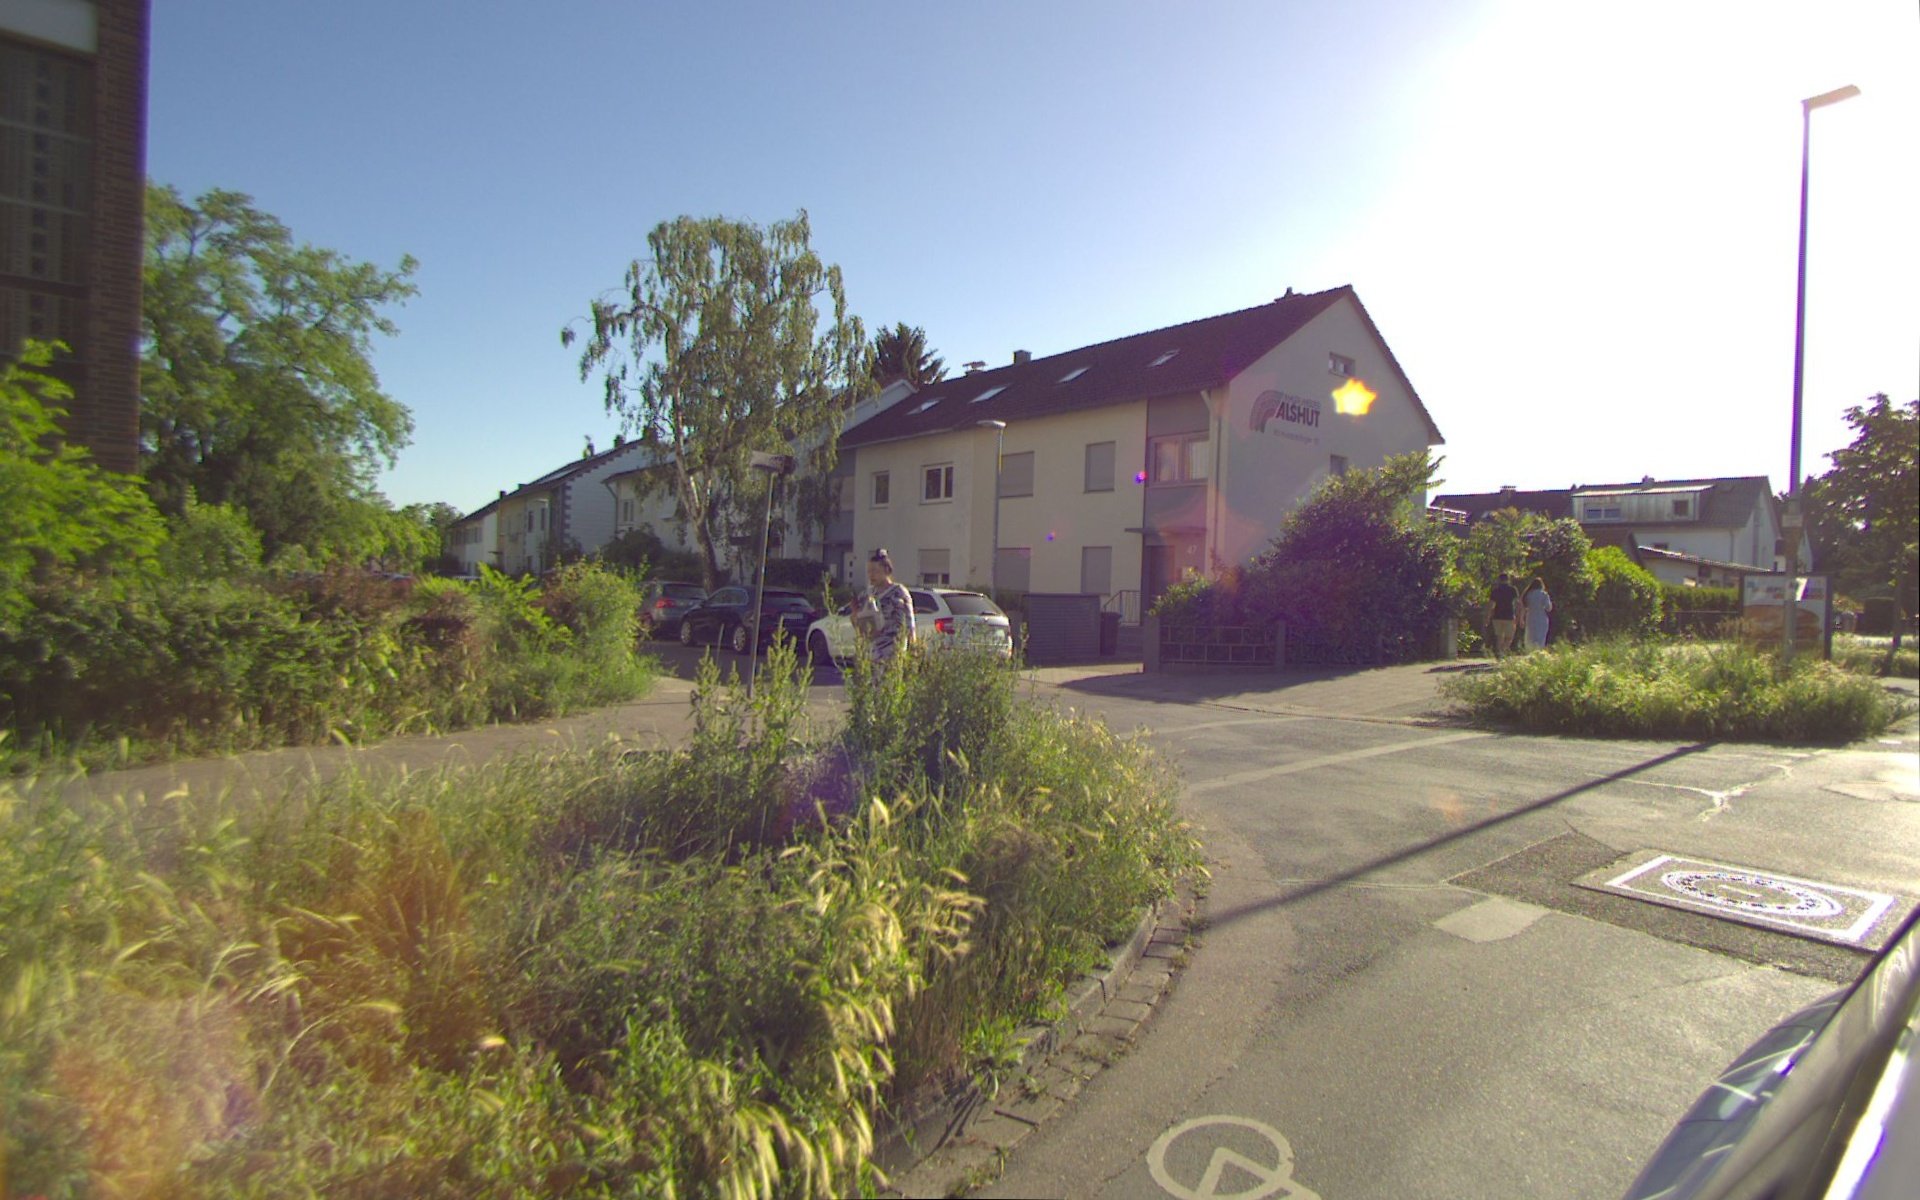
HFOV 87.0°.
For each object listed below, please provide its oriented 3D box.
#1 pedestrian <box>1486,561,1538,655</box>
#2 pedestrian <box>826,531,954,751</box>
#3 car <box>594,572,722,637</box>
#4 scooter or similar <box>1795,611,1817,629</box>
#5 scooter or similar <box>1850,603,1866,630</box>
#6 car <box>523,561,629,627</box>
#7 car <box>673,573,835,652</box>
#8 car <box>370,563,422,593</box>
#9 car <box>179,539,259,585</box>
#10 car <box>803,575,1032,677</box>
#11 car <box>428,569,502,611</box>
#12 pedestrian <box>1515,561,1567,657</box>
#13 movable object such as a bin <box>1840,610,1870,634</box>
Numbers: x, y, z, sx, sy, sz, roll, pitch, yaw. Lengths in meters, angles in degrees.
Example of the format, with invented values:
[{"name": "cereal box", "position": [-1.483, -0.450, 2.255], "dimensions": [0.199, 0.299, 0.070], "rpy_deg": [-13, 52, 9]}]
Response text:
[{"name": "pedestrian", "position": [10.555, 0.144, 19.350], "dimensions": [0.626, 1.754, 0.609], "rpy_deg": [1, 0, -24]}, {"name": "pedestrian", "position": [-0.633, 0.341, 9.071], "dimensions": [0.900, 1.845, 0.724], "rpy_deg": [0, 0, 45]}, {"name": "car", "position": [-7.930, 0.089, 26.386], "dimensions": [1.774, 1.521, 3.952], "rpy_deg": [3, 0, -39]}, {"name": "scooter or similar", "position": [36.039, 0.850, 43.109], "dimensions": [1.207, 0.725, 0.450], "rpy_deg": [1, 5, -41]}, {"name": "scooter or similar", "position": [45.459, 0.842, 51.226], "dimensions": [0.454, 1.311, 0.502], "rpy_deg": [1, 2, -44]}, {"name": "car", "position": [-11.635, -0.215, 30.567], "dimensions": [1.774, 1.816, 3.952], "rpy_deg": [3, 0, -39]}, {"name": "car", "position": [-4.544, 0.242, 21.968], "dimensions": [1.774, 1.521, 3.952], "rpy_deg": [3, 0, -39]}, {"name": "car", "position": [-30.665, -1.221, 54.988], "dimensions": [1.774, 1.521, 3.952], "rpy_deg": [3, 0, -39]}, {"name": "car", "position": [-26.607, -1.306, 36.285], "dimensions": [1.795, 1.538, 3.990], "rpy_deg": [1, 0, -44]}, {"name": "car", "position": [-0.861, 0.377, 17.628], "dimensions": [1.774, 1.521, 4.204], "rpy_deg": [3, 0, -39]}, {"name": "car", "position": [-19.844, -0.421, 40.506], "dimensions": [1.774, 1.521, 3.952], "rpy_deg": [3, 0, -39]}, {"name": "pedestrian", "position": [10.794, 0.167, 18.805], "dimensions": [0.647, 1.754, 0.557], "rpy_deg": [1, -1, -24]}, {"name": "movable object such as a bin", "position": [54.051, 1.317, 61.114], "dimensions": [0.912, 1.310, 1.171], "rpy_deg": [1, 2, -41]}]
